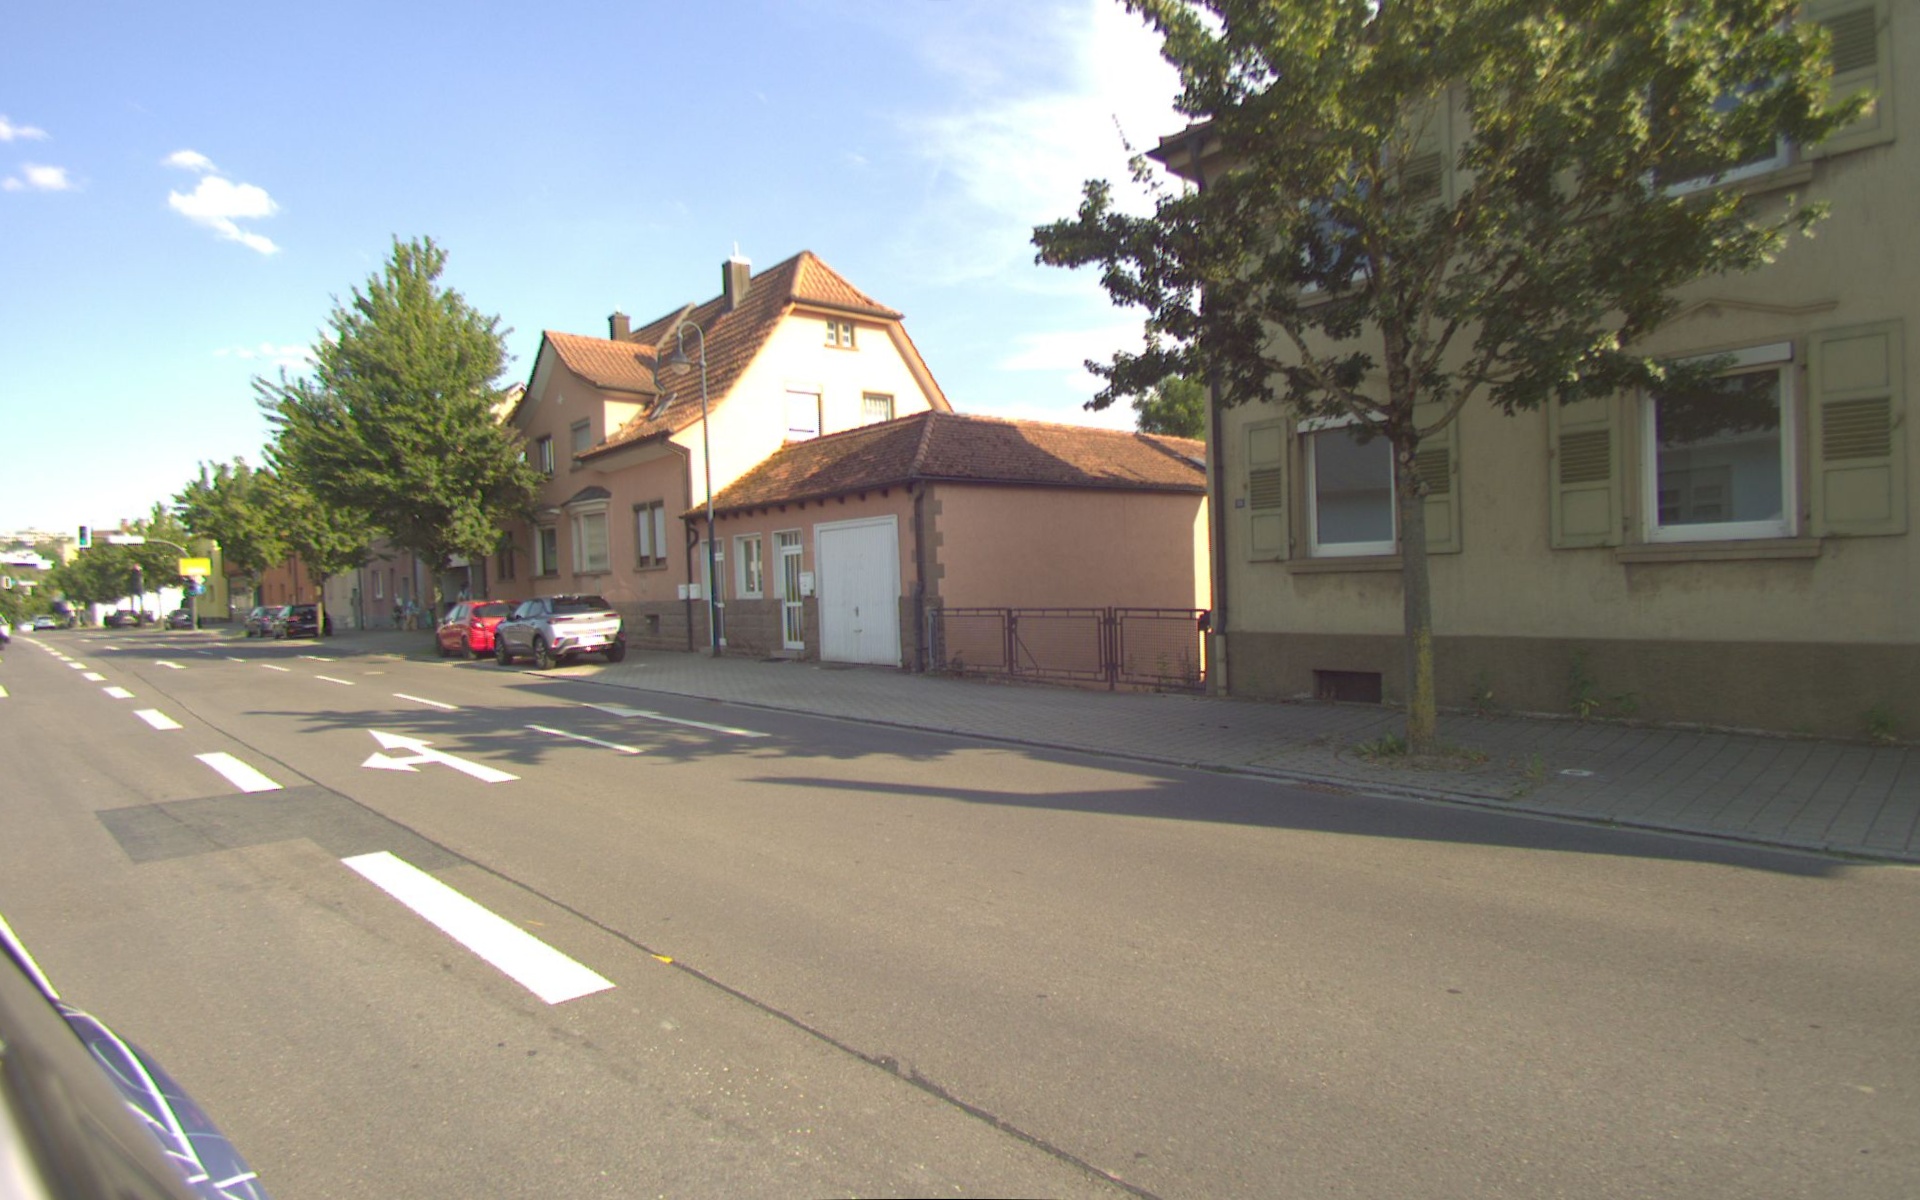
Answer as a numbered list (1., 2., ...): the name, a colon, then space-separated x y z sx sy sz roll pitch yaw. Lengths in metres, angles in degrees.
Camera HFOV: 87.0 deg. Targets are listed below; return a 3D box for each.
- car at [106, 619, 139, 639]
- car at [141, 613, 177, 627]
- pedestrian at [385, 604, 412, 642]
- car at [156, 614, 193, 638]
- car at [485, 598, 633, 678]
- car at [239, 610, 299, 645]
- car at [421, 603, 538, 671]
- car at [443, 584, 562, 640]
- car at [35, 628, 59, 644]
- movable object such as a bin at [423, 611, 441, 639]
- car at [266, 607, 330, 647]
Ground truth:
1. car: -71.970 2.474 86.912 1.833 1.607 4.463 -2 0 -44
2. car: -97.543 2.441 123.305 1.567 1.576 3.426 -2 0 5
3. pedestrian: -24.498 0.994 44.161 0.769 1.619 0.721 -1 0 7
4. car: -53.669 1.767 69.123 1.573 1.449 3.779 -7 3 -42
5. car: -8.952 0.815 22.414 1.735 1.490 4.006 -5 2 -41
6. car: -32.756 1.303 47.953 3.886 1.521 1.496 -2 1 43
7. car: -12.580 0.918 26.370 1.646 1.498 4.006 -5 3 -41
8. car: -17.781 0.423 39.422 3.777 1.895 1.780 -5 2 -44
9. car: -100.683 3.924 111.549 4.414 1.624 1.667 -2 0 44
10. movable object such as a bin: -21.998 1.035 42.169 0.544 1.151 0.530 -2 -1 -43
11. car: -28.536 1.158 43.599 1.646 1.543 3.907 -5 2 -42
